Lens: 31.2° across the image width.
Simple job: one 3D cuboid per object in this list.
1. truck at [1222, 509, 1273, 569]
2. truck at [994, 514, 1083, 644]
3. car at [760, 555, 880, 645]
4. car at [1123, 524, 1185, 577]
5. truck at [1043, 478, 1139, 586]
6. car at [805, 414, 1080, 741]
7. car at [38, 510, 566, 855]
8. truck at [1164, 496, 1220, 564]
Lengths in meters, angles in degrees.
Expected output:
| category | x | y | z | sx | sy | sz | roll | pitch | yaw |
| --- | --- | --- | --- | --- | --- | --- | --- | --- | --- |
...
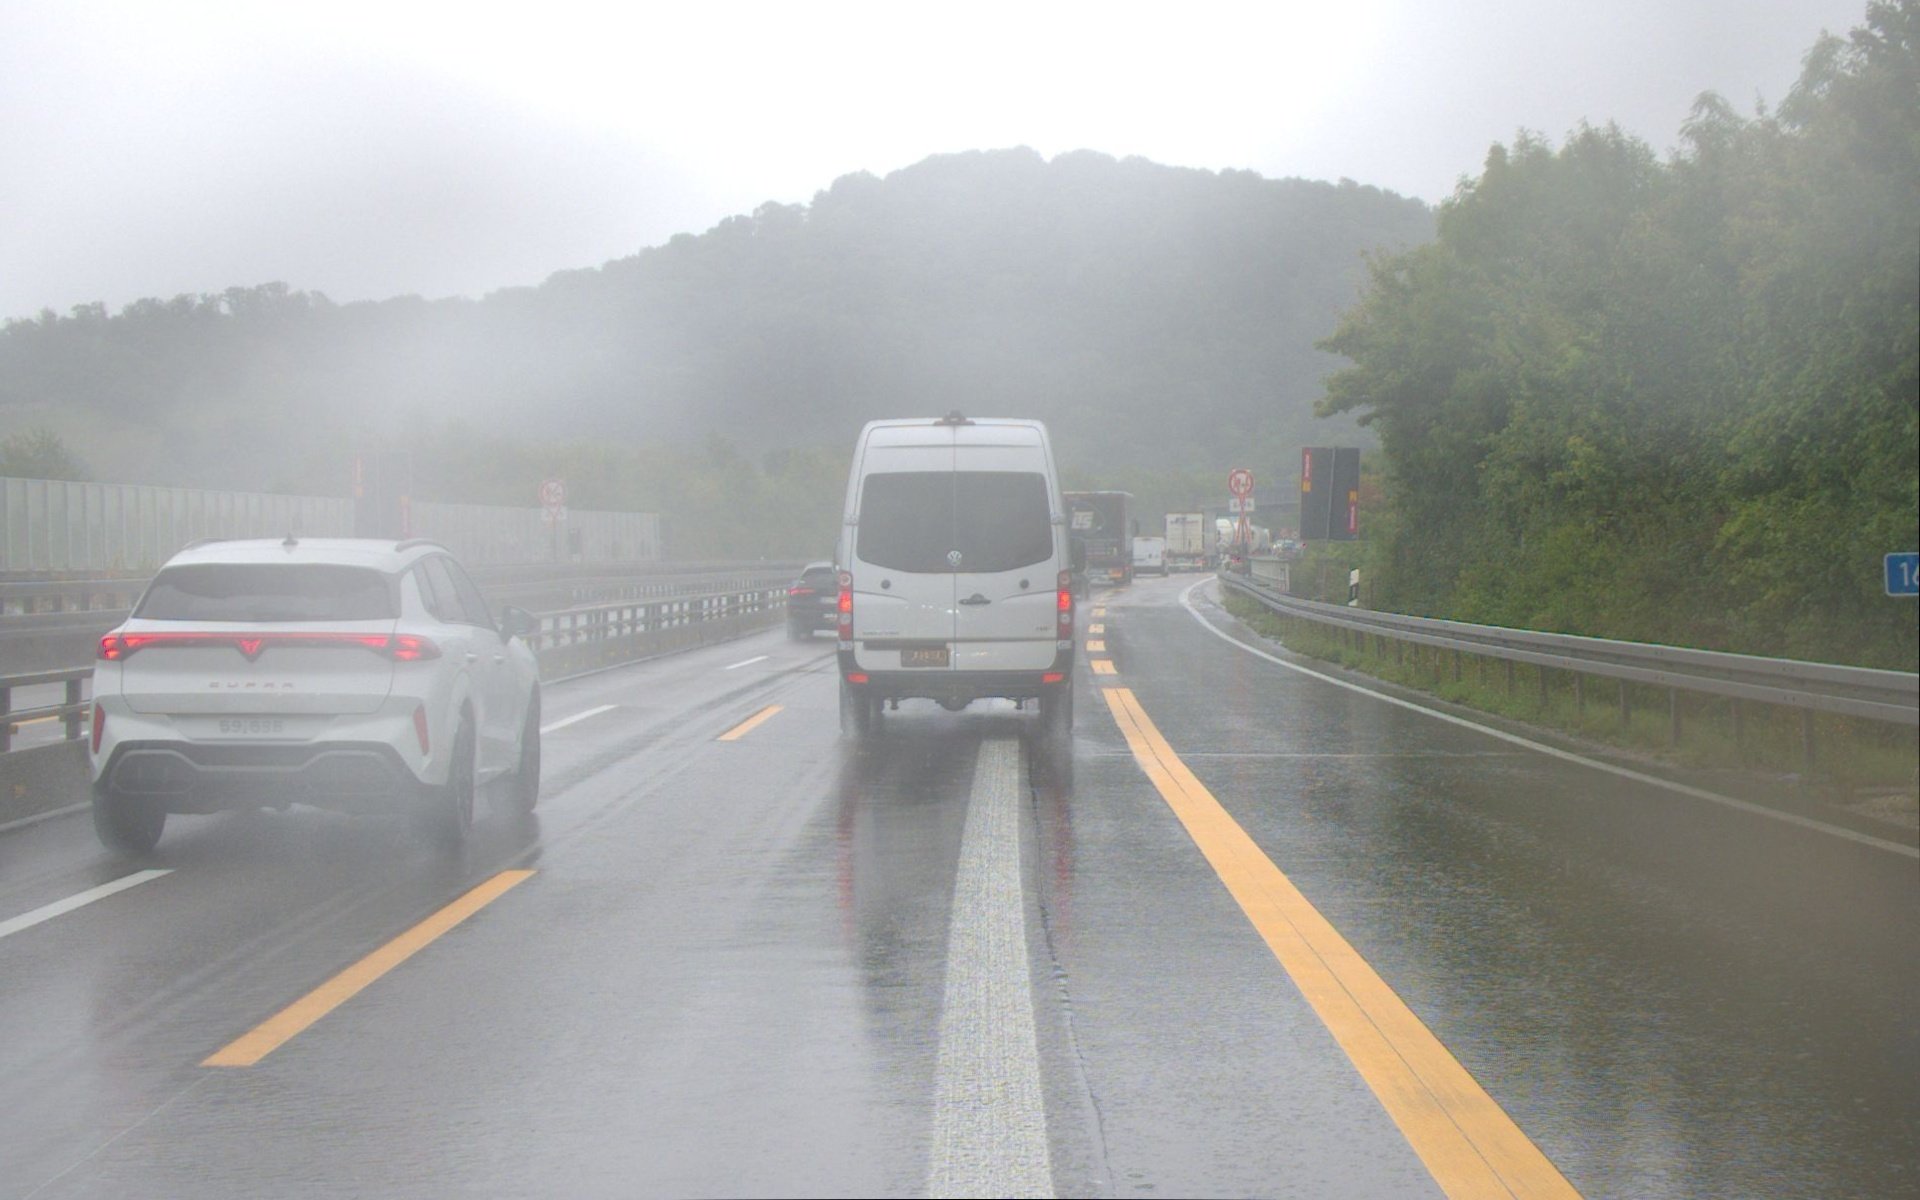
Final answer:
| category | x | y | z | sx | sy | sz | roll | pitch | yaw |
| --- | --- | --- | --- | --- | --- | --- | --- | --- | --- |
| truck | 21.894 | -4.580 | 261.281 | 2.900 | 4.391 | 9.619 | 1 | 0 | 10 |
| truck | 2.035 | -0.548 | 86.944 | 1.994 | 3.098 | 8.498 | 1 | 0 | 3 |
| car | -2.508 | -0.022 | 62.620 | 1.947 | 1.556 | 4.000 | 1 | 0 | 1 |
| car | 10.917 | -2.739 | 193.085 | 2.899 | 2.877 | 6.409 | 1 | 0 | 8 |
| truck | 5.645 | -2.832 | 146.086 | 3.582 | 4.391 | 9.622 | 1 | 0 | 5 |
| car | -0.159 | -0.202 | 29.967 | 2.145 | 2.562 | 5.390 | 1 | 0 | 0 |
| car | -3.391 | 0.370 | 18.687 | 1.993 | 1.612 | 4.797 | 1 | 0 | -1 |
| truck | 15.532 | -4.644 | 229.489 | 3.037 | 4.391 | 9.621 | 1 | 0 | 8 |
